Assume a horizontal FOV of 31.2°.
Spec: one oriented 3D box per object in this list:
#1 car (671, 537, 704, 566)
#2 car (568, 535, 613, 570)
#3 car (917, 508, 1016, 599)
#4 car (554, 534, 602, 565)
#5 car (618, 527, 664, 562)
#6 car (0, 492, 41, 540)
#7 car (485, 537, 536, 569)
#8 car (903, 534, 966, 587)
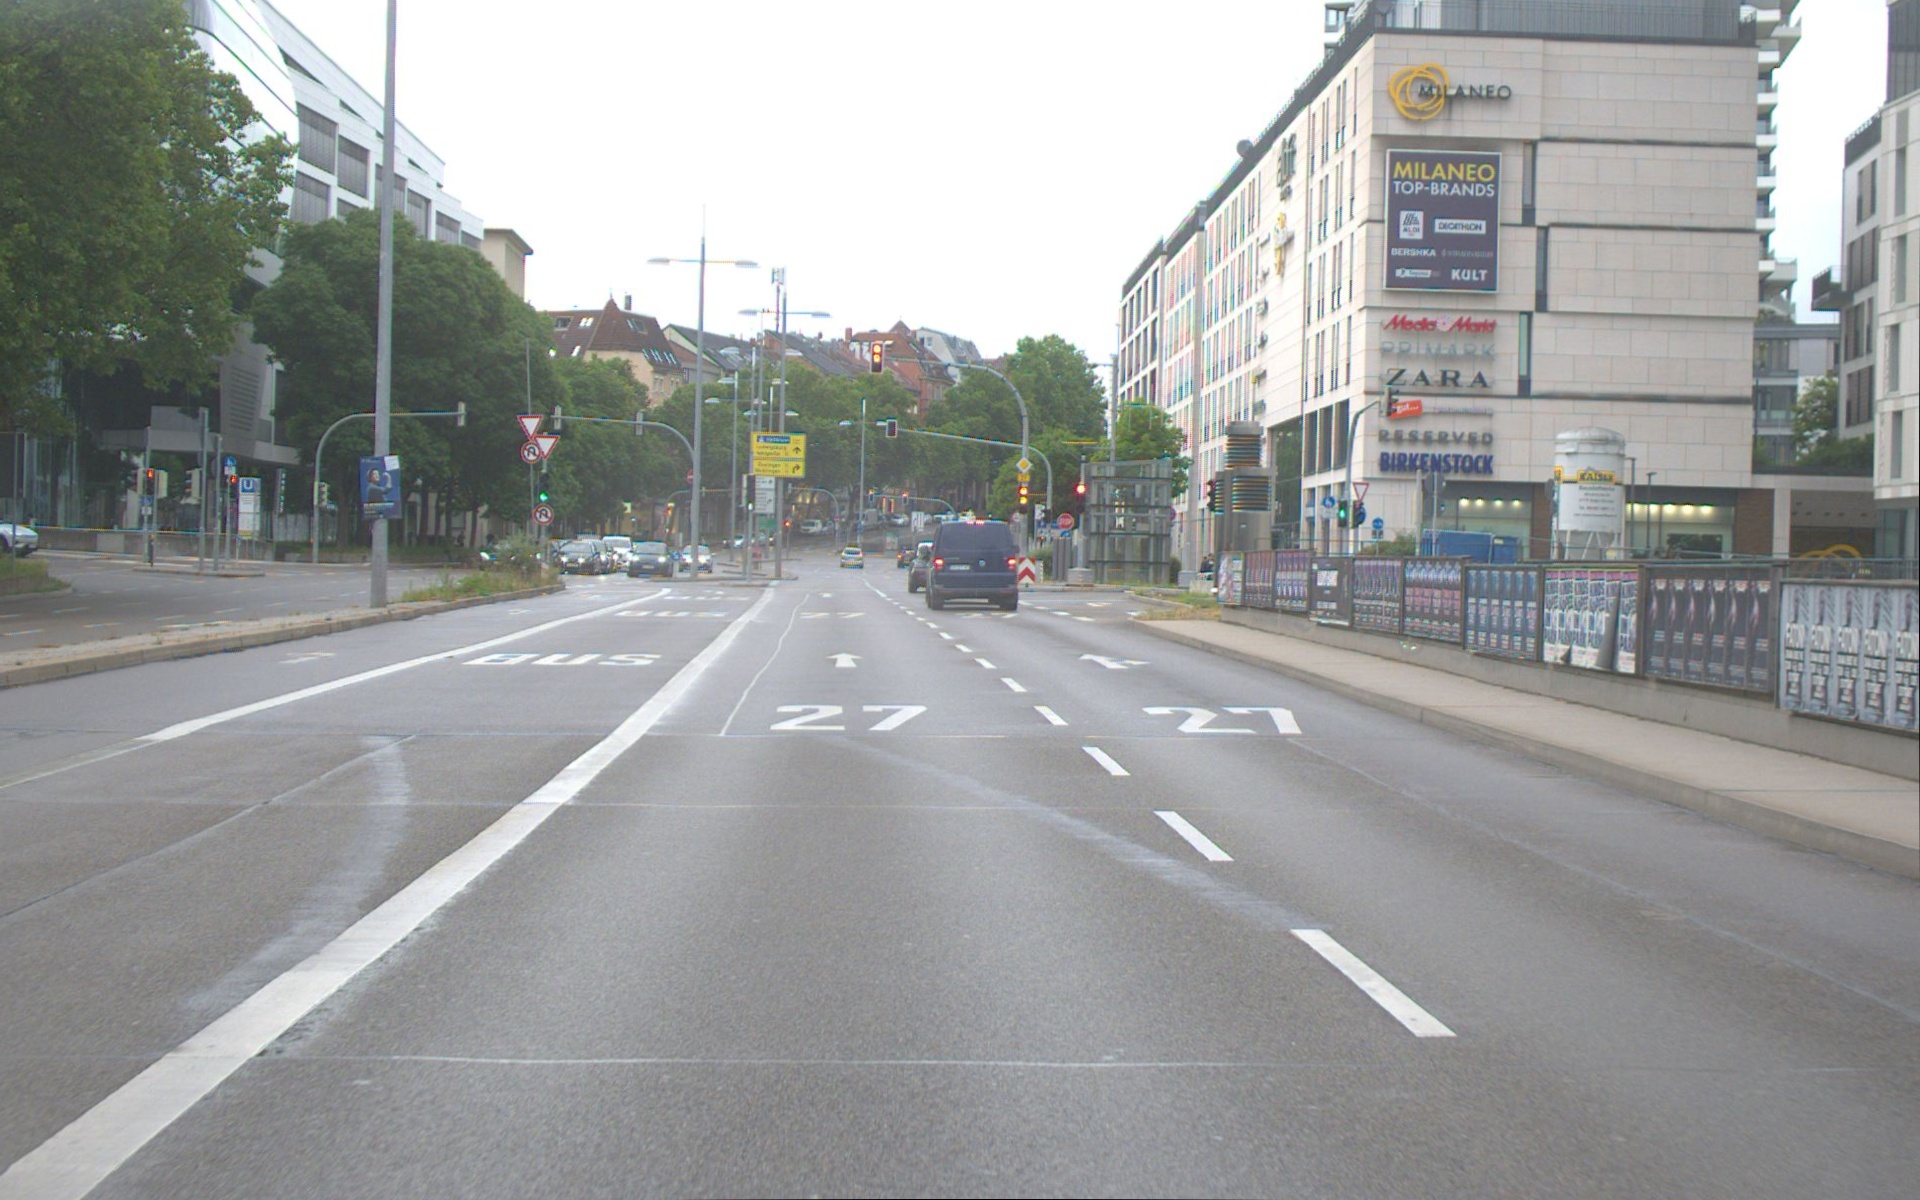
[{"bbox_3d":[-14.339,-2.556,181.293,1.538,1.472,3.696,0,0,-2],"label":"car"},{"bbox_3d":[-16.648,-2.136,154.939,1.743,1.553,3.540,0,0,-2],"label":"car"},{"bbox_3d":[0.110,-1.074,76.686,2.033,1.875,5.042,-2,2,-1],"label":"car"},{"bbox_3d":[-16.444,-2.164,147.973,1.743,1.253,3.540,1,1,-2],"label":"car"},{"bbox_3d":[-13.610,-2.373,146.809,1.743,1.439,3.395,0,0,-2],"label":"car"},{"bbox_3d":[-34.561,-2.942,119.869,4.504,1.625,1.893,1,0,15],"label":"car"},{"bbox_3d":[-19.267,-1.997,147.396,1.743,1.324,4.226,0,0,-2],"label":"car"},{"bbox_3d":[-0.773,-1.157,101.379,1.740,1.526,3.814,0,0,-2],"label":"car"}]
